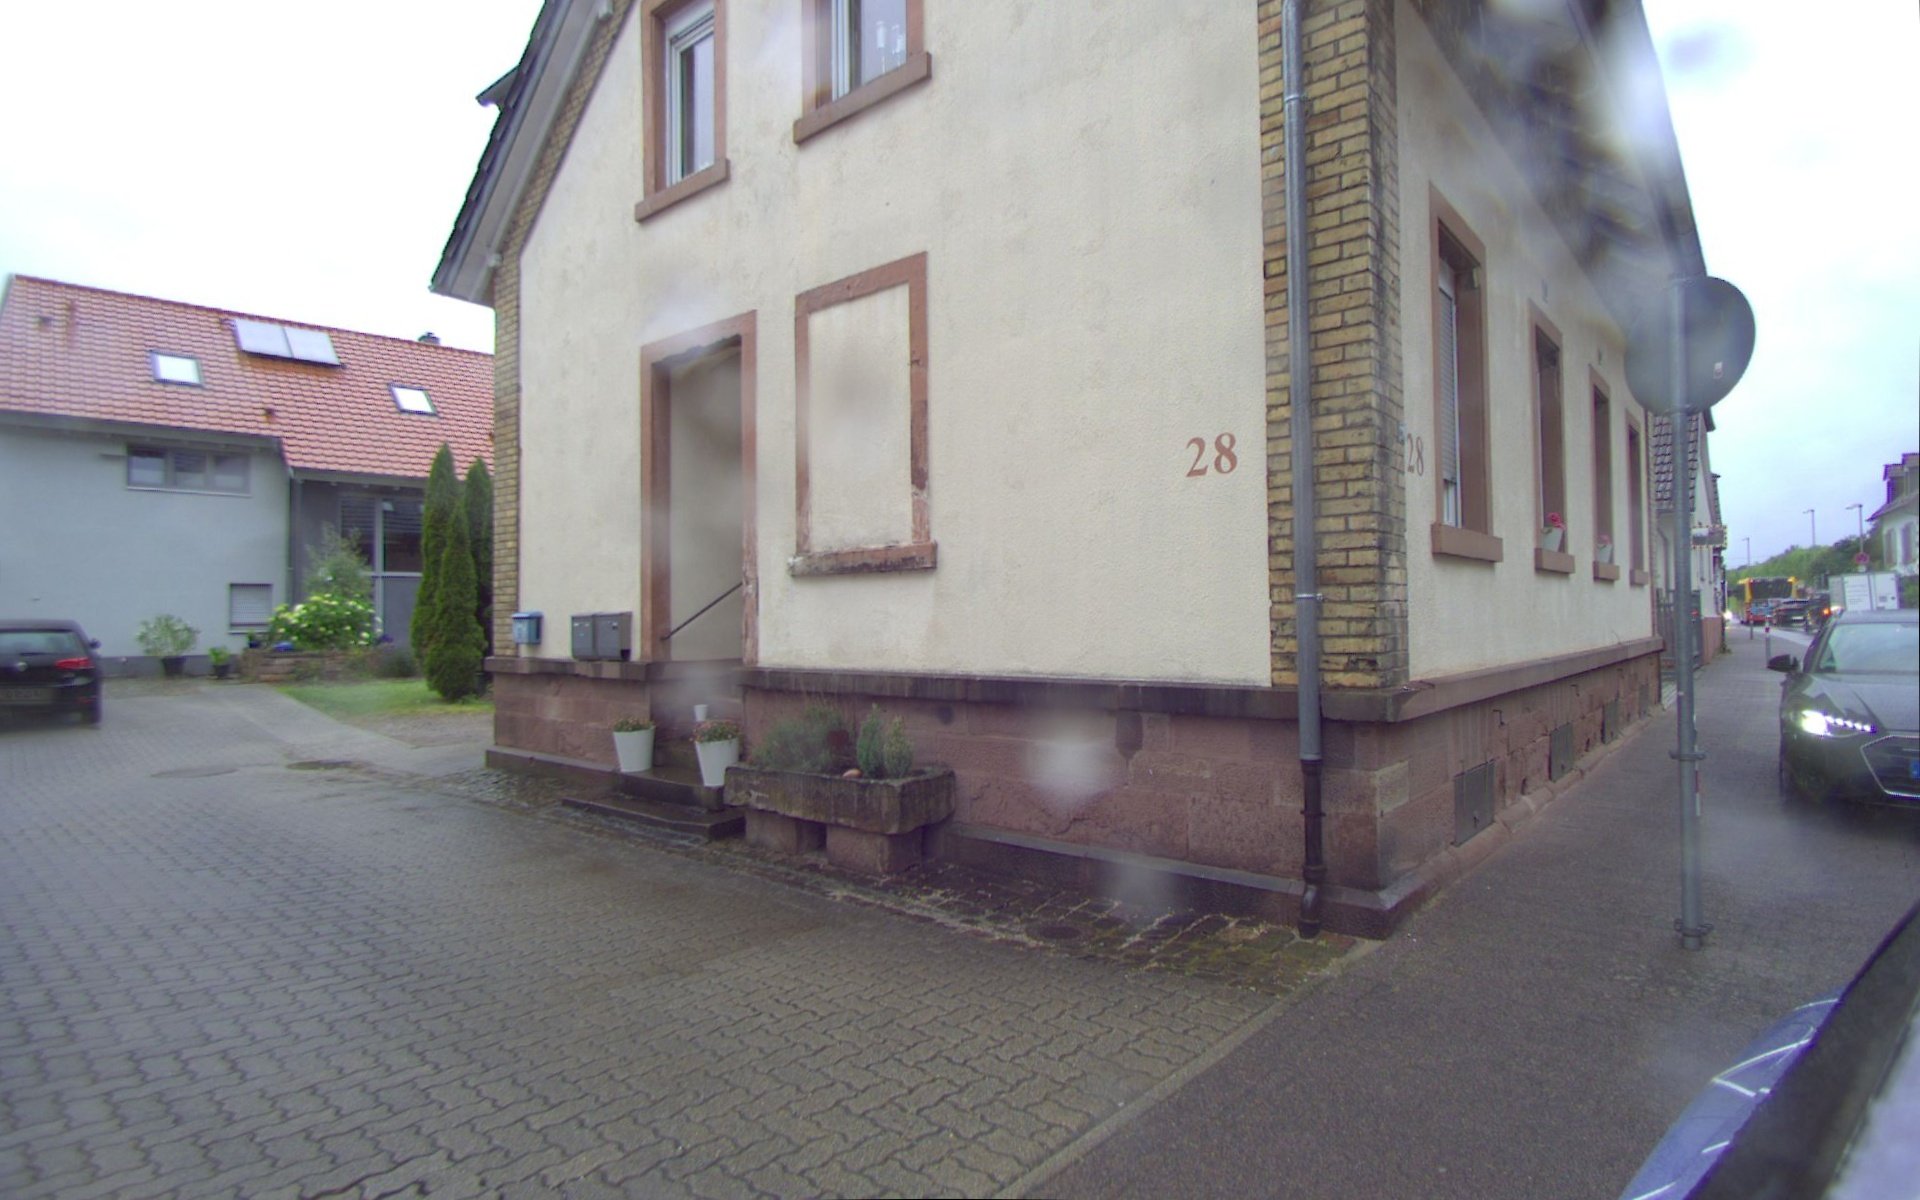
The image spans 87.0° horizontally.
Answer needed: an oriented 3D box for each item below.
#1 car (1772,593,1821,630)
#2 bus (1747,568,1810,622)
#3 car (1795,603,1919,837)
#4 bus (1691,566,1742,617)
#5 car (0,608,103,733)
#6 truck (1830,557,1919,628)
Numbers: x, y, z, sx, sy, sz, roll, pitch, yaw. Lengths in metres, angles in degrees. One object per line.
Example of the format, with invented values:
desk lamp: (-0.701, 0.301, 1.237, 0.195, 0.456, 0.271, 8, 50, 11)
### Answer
car: (44.244, 0.577, 53.616, 1.793, 1.839, 3.947, 0, 0, 37)
bus: (54.006, -0.371, 66.983, 2.654, 3.273, 12.032, 0, 0, 36)
car: (7.367, 0.735, 7.536, 1.732, 1.388, 4.044, 0, 0, 39)
bus: (52.622, -0.585, 70.549, 2.654, 3.273, 12.032, 0, 0, 36)
car: (-13.948, 0.955, 15.106, 1.656, 1.491, 3.993, 0, 2, -42)
truck: (35.351, -0.307, 39.087, 1.986, 2.536, 5.581, 0, 0, 34)
